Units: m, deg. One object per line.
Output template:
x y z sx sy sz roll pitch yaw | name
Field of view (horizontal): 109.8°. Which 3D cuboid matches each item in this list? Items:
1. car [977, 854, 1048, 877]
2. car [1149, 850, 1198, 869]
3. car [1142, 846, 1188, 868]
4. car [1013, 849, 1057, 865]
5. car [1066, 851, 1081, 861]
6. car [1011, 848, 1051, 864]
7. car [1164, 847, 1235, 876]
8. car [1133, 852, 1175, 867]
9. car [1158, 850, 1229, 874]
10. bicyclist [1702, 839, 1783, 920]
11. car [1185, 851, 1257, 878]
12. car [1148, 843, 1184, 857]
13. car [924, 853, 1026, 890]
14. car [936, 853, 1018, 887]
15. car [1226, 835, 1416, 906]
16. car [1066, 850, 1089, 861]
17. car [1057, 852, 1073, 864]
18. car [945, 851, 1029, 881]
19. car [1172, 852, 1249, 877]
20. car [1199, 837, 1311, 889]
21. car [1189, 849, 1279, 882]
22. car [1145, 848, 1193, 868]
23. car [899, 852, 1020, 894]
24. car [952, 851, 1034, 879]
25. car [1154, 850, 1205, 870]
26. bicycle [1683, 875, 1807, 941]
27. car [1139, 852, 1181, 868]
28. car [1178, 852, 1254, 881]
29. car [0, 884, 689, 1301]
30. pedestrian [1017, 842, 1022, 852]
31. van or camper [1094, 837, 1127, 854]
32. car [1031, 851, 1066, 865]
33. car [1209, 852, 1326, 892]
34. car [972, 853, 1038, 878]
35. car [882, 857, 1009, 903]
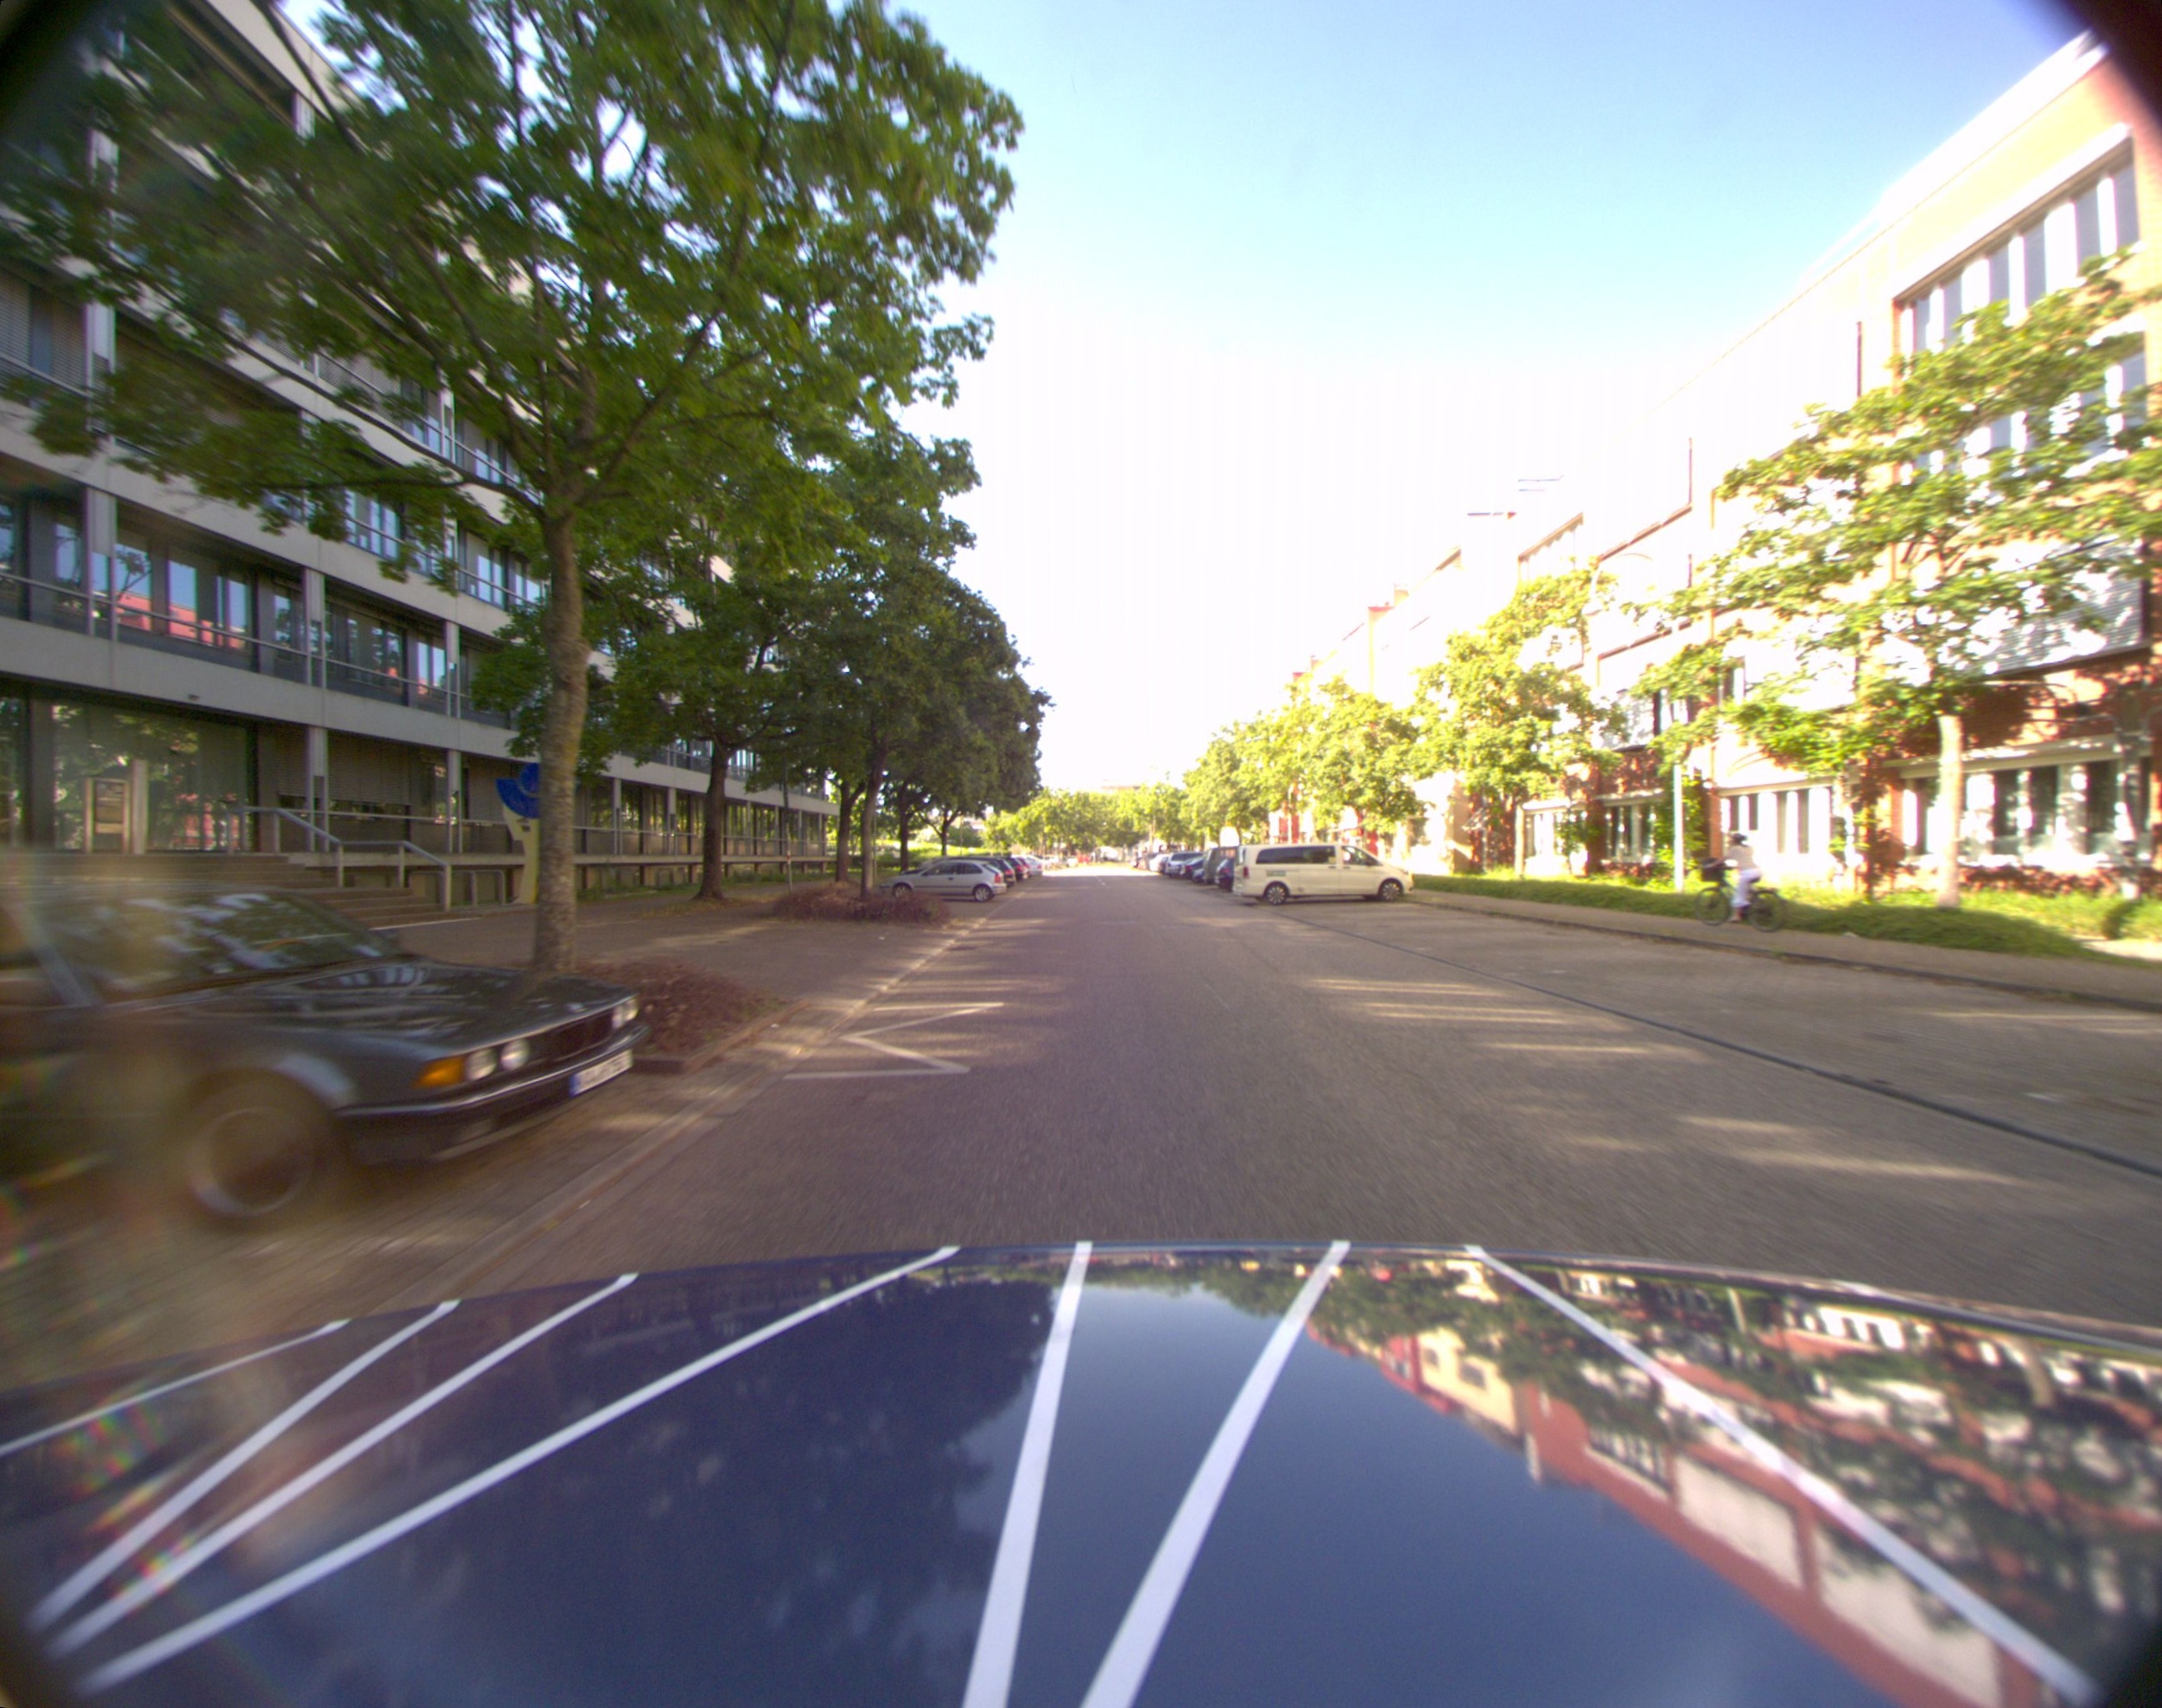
-4.539 0.734 50.792 4.589 1.467 1.746 0 0 0 | car
7.691 0.468 63.563 3.737 1.439 1.875 -2 0 -3 | car
7.578 0.255 68.737 3.901 1.801 1.785 -2 0 0 | car
-4.930 0.310 81.341 4.563 1.506 1.981 2 1 -6 | car
-1.154 0.299 112.342 1.646 1.485 3.767 3 1 8 | car
-5.151 0.219 78.626 3.957 1.506 1.701 2 1 1 | car
7.524 0.463 48.536 4.330 1.707 1.963 -2 0 5 | car
7.485 0.574 78.501 4.272 1.415 1.740 -2 0 4 | car
7.496 0.548 50.817 4.414 1.419 1.772 -2 0 -2 | car
11.345 0.418 13.058 0.607 1.345 0.913 0 1 4 | bicyclist
7.994 0.585 43.555 3.736 1.419 1.725 -2 0 -1 | car
12.322 -0.609 110.019 4.776 1.973 1.996 -1 0 -23 | car
-4.653 0.765 33.844 4.298 1.484 2.003 1 1 -4 | car
-4.902 0.763 36.125 3.754 1.484 1.616 1 1 -4 | car
7.336 0.483 23.656 5.270 1.955 1.943 -2 0 2 | car
-0.569 0.238 124.866 3.439 1.535 1.629 3 1 13 | car
-2.227 0.514 105.197 1.813 1.485 4.624 3 1 3 | car
-5.250 0.678 42.861 4.528 1.533 1.921 1 1 -4 | car
7.811 0.610 46.187 4.332 1.350 1.757 -2 0 -1 | car
7.706 0.391 33.969 4.498 2.078 2.083 -2 0 2 | car
7.702 0.570 38.504 4.142 1.519 1.725 -2 0 0 | car
7.649 0.325 66.233 3.901 1.565 1.859 -2 0 0 | car
-4.850 0.742 30.781 4.604 1.484 1.762 2 1 -2 | car
-5.213 0.653 45.421 4.525 1.533 1.922 1 1 4 | car
7.908 0.491 61.206 3.737 1.439 1.859 -2 0 -3 | car
11.346 0.888 13.071 0.607 0.976 1.864 0 0 4 | bicycle
7.625 0.600 73.558 3.901 1.415 1.739 -2 0 0 | car
7.251 0.659 41.036 3.736 1.419 1.724 -2 0 -2 | car
-4.951 0.944 3.842 4.838 1.411 2.031 1 1 -2 | car
-9.266 -1.106 114.428 0.608 1.533 0.937 0 1 5 | pedestrian
5.813 -1.620 148.658 5.991 2.967 2.673 3 1 11 | van or camper
-4.146 0.509 96.646 4.097 1.421 1.643 4 1 7 | car
7.550 0.708 31.133 4.331 1.469 1.943 -2 0 2 | car
-4.809 0.713 48.180 3.846 1.438 1.922 1 1 4 | car
-4.513 0.857 25.689 3.980 1.412 1.710 1 1 0 | car
